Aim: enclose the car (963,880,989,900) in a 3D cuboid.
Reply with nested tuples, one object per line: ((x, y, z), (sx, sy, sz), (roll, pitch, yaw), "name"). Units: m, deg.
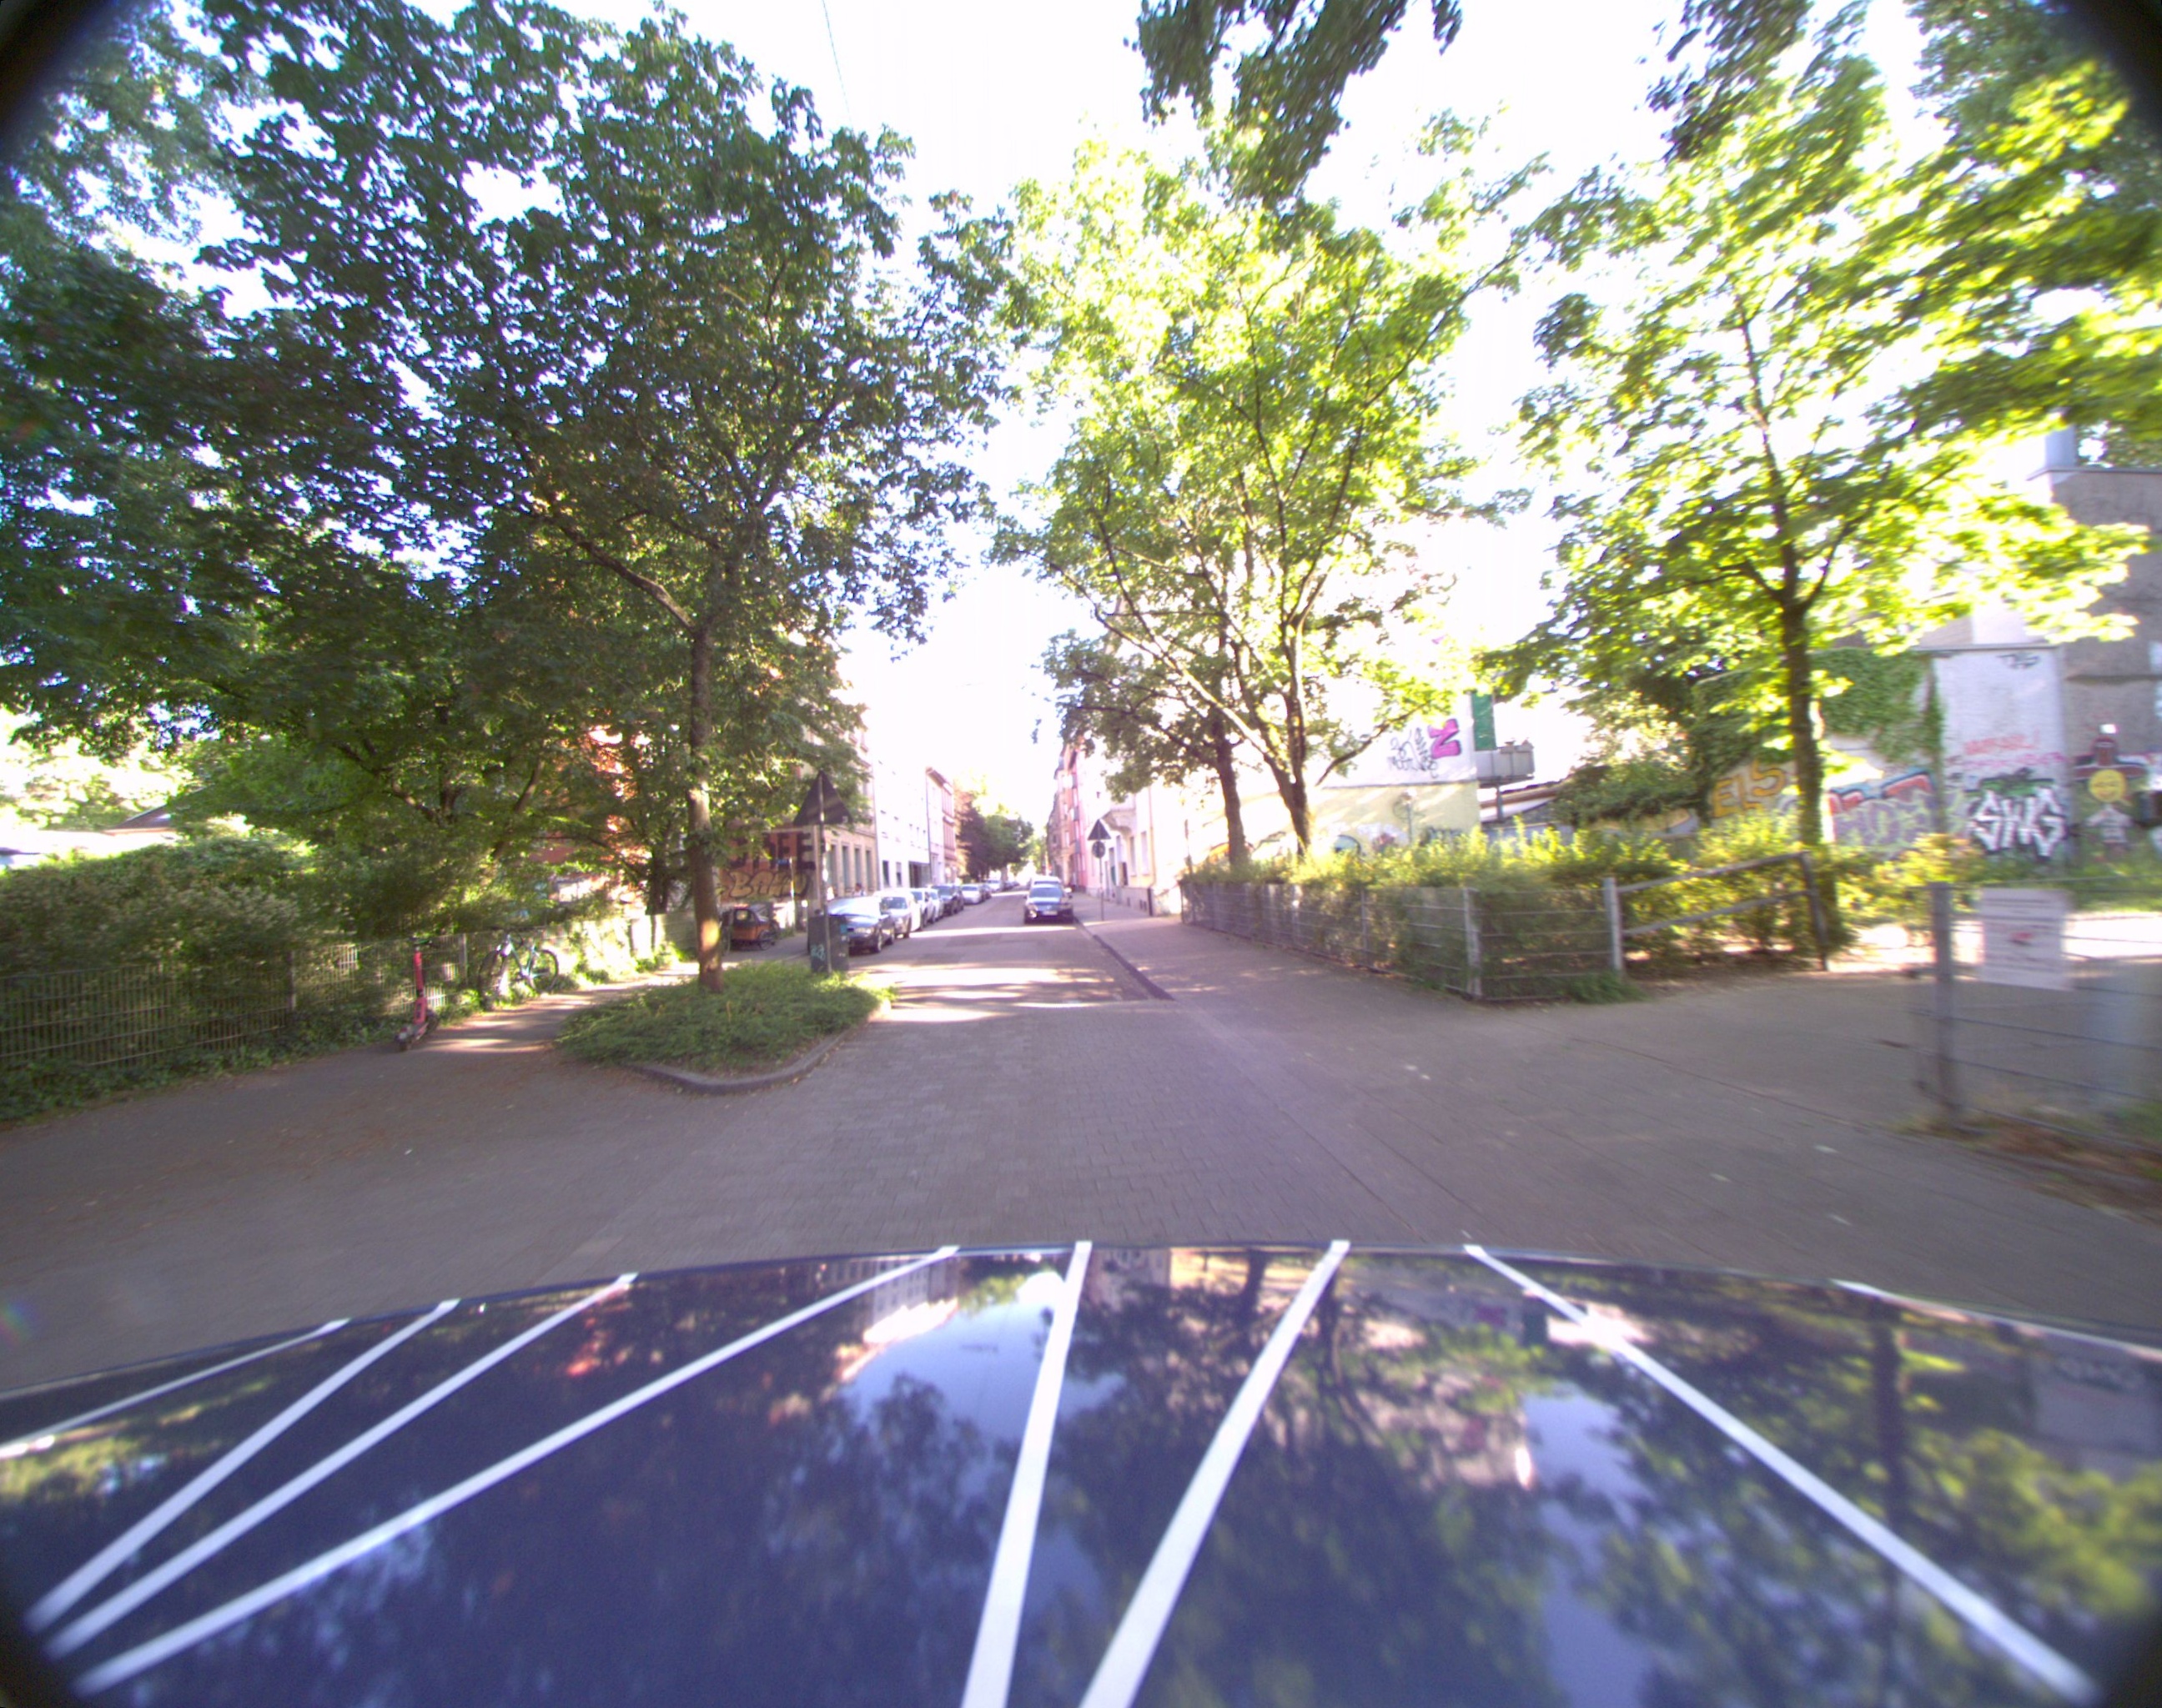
((-8.513, 2.921, 62.009), (1.769, 1.524, 4.102), (-1, -1, -4), "car")

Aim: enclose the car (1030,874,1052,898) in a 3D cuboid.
((-3.262, 2.576, 61.750), (1.769, 1.813, 4.102), (0, -1, -4), "car")

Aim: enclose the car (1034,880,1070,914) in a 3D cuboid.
((-1.328, 1.942, 35.001), (1.598, 1.442, 3.485), (0, -1, -2), "car")

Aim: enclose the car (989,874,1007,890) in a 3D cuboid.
((-10.828, 3.625, 98.855), (1.866, 1.969, 4.481), (0, -1, 0), "car")

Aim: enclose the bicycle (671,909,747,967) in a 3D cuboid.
((-8.812, 1.971, 18.105), (0.849, 1.193, 1.982), (-2, -2, -2), "bicycle")

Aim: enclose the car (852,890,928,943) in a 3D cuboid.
((-6.250, 2.007, 25.312), (1.664, 1.484, 4.353), (-1, -1, -3), "car")

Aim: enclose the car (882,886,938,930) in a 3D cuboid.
((-6.798, 2.114, 30.595), (1.598, 1.575, 3.763), (-1, -1, -4), "car")

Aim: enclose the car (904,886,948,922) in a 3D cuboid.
((-7.105, 2.262, 35.119), (1.598, 1.442, 4.002), (-1, -1, -6), "car")

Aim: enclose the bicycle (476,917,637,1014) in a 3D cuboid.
((-8.568, 1.769, 12.617), (0.849, 1.260, 2.692), (-2, -2, -2), "bicycle")

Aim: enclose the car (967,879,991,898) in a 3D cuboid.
((-8.857, 3.006, 66.460), (1.769, 1.524, 4.102), (-1, -1, -4), "car")

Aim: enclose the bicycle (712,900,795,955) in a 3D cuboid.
((-8.880, 1.967, 20.750), (1.294, 1.294, 2.327), (-1, -1, -1), "bicycle")

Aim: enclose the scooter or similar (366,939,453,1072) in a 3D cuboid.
((-7.556, 1.646, 8.601), (0.547, 1.254, 1.469), (-1, -1, -35), "scooter or similar")

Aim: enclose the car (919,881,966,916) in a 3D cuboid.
((-7.190, 2.273, 39.733), (1.770, 1.656, 4.328), (-2, -2, -2), "car")

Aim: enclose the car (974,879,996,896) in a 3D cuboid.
((-9.039, 3.136, 71.608), (1.769, 1.524, 4.102), (0, -1, -4), "car")

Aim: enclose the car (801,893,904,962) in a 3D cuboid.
((-5.993, 1.868, 20.447), (1.726, 1.484, 4.413), (-1, -1, -5), "car")

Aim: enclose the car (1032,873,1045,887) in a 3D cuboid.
((-5.902, 3.625, 105.781), (1.769, 1.845, 3.992), (0, -1, -4), "car")

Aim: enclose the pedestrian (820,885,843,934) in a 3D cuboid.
((-8.814, 1.948, 26.844), (0.599, 1.698, 0.706), (0, -1, -4), "pedestrian")

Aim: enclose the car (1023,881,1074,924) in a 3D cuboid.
((-1.276, 1.797, 28.975), (1.784, 1.434, 4.392), (0, -1, -4), "car")

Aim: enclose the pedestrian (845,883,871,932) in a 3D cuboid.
((-7.873, 1.866, 26.883), (0.712, 1.698, 0.752), (0, -1, -4), "pedestrian")

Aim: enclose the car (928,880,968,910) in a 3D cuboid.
((-7.794, 2.373, 44.868), (1.886, 1.656, 4.327), (0, -1, -4), "car")

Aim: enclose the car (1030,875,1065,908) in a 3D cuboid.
((-1.910, 2.027, 42.407), (1.755, 1.730, 4.314), (0, -1, -5), "car")

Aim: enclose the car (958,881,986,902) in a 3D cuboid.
((-8.191, 2.780, 57.170), (1.769, 1.508, 4.102), (0, -1, -4), "car")

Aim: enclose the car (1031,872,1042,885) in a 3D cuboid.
((-7.392, 4.037, 126.498), (1.769, 2.074, 4.263), (0, -1, -4), "car")
